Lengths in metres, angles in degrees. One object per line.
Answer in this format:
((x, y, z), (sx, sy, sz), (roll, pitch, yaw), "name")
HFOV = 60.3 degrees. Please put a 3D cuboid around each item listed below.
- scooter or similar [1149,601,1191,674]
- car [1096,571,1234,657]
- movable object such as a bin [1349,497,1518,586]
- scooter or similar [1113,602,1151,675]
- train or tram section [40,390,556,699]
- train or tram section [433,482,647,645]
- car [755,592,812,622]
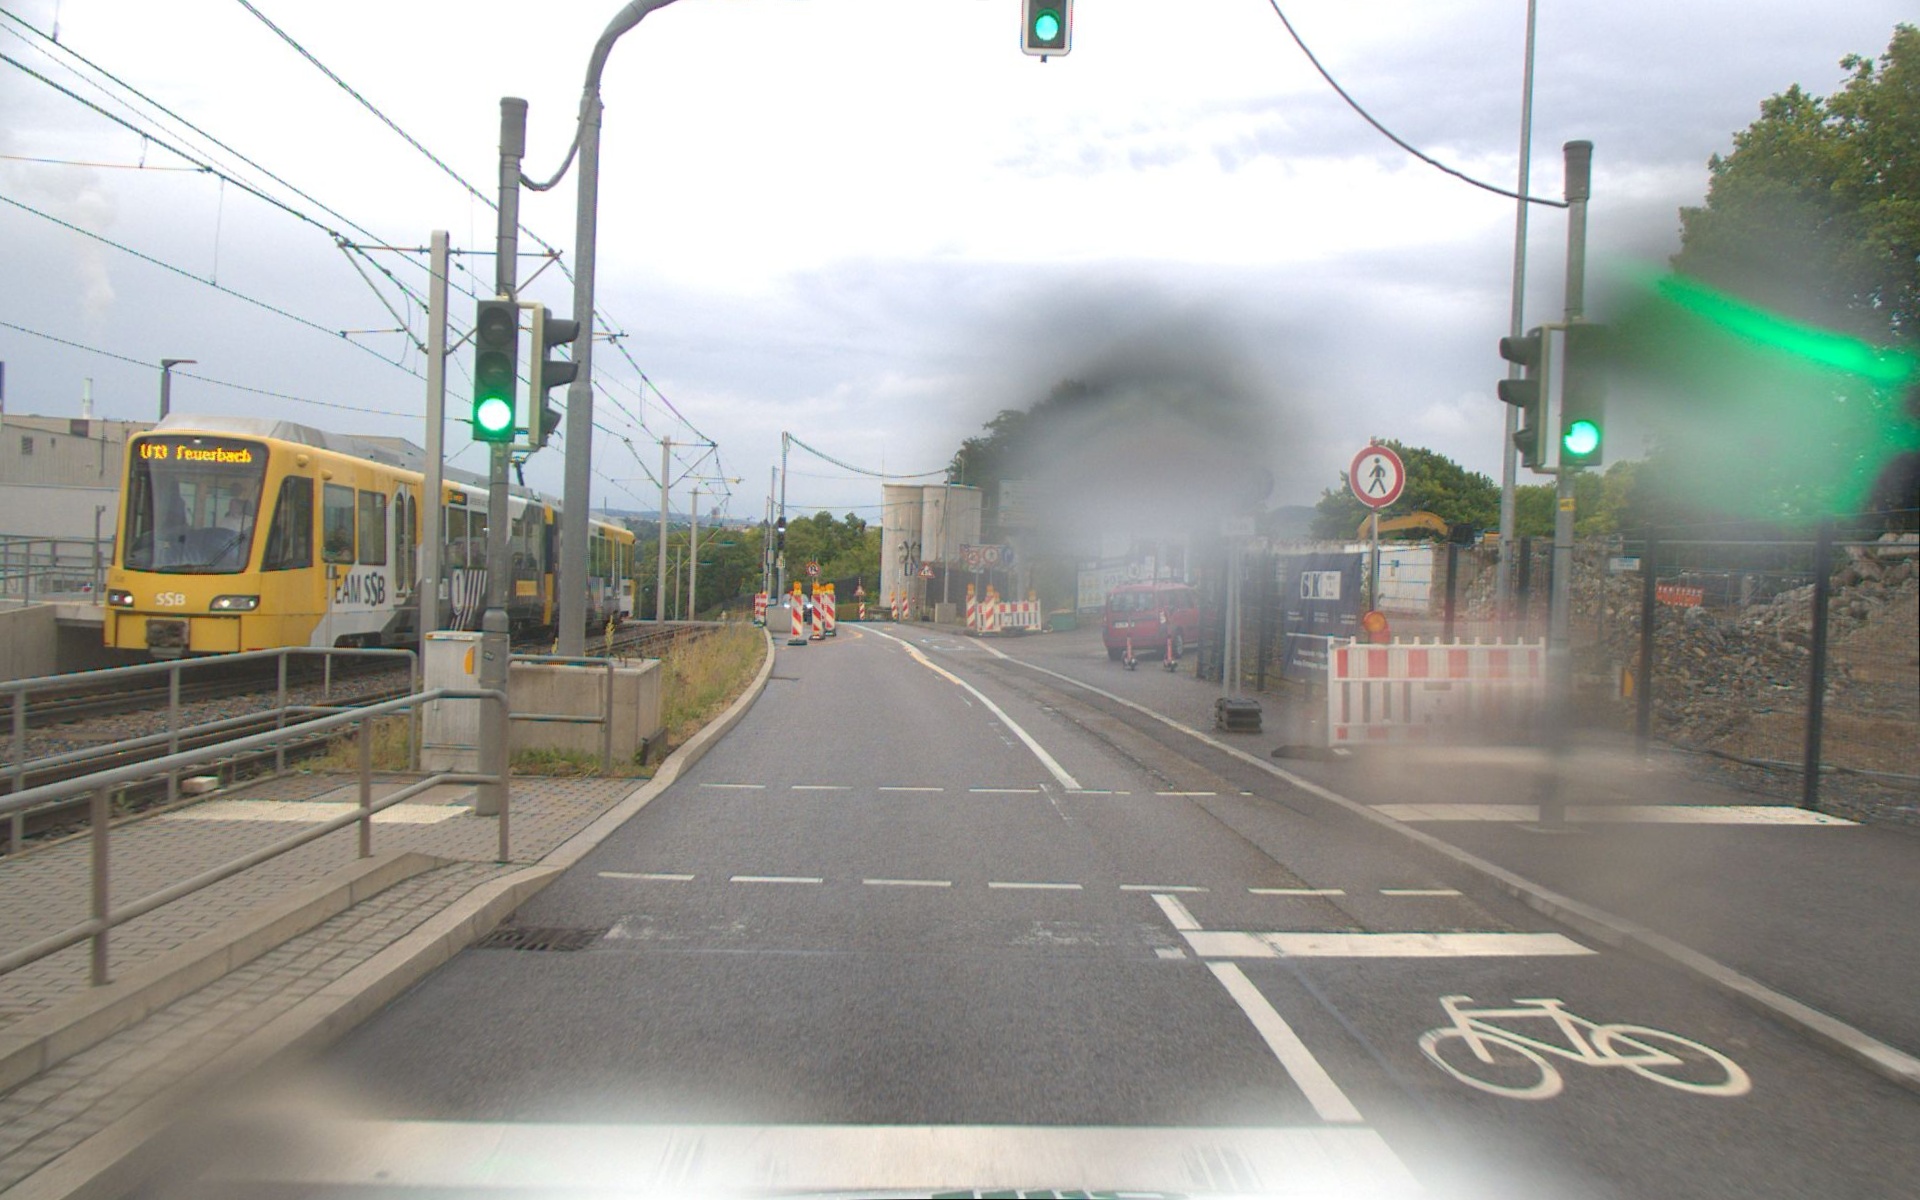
((4.103, 0.712, 32.403), (0.602, 1.375, 1.912), (1, 0, 2), "scooter or similar")
((4.783, 0.293, 38.093), (1.784, 1.825, 4.404), (1, 0, 26), "car")
((33.379, -4.076, 117.031), (10.996, 6.100, 3.493), (1, 0, 3), "movable object such as a bin")
((3.371, 0.735, 32.552), (0.602, 1.375, 1.912), (1, 0, 2), "scooter or similar")
((-11.100, -0.792, 31.585), (2.896, 3.953, 19.560), (2, 0, -3), "train or tram section")
((-12.299, -0.988, 50.945), (2.897, 3.953, 19.275), (2, 0, -4), "train or tram section")
((-10.420, 0.432, 97.422), (1.969, 1.707, 4.452), (1, 0, -25), "car")
